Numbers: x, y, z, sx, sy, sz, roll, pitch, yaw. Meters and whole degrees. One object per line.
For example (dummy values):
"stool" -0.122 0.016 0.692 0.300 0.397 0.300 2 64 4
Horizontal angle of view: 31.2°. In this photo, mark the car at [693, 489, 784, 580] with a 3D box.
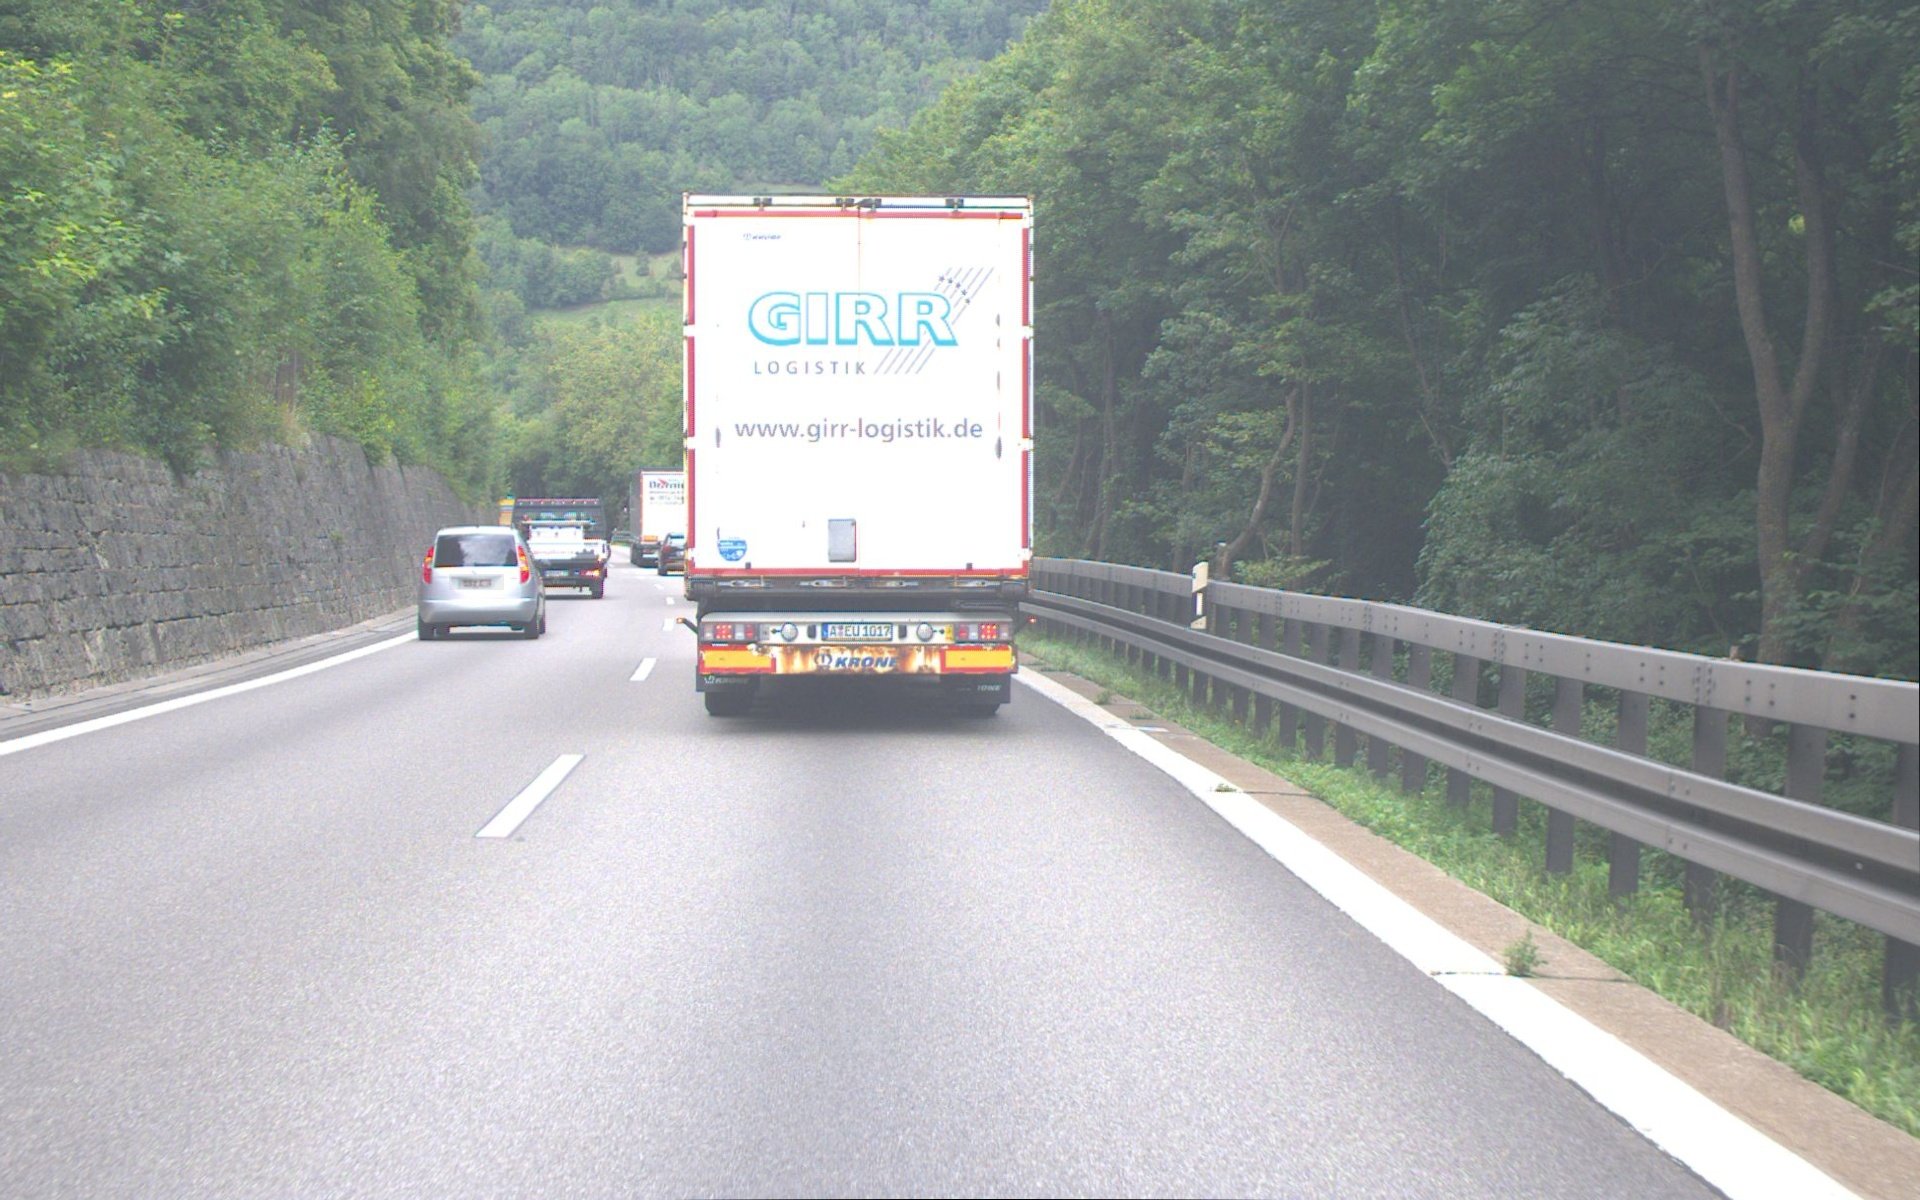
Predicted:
"car" -5.178 -1.516 80.501 1.993 2.007 4.334 2 1 -4

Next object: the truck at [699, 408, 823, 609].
"truck" -4.070 -1.805 69.752 2.233 3.791 6.824 2 1 -4

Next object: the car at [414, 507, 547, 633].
"car" -6.891 -0.449 49.730 1.634 1.720 4.345 1 1 -5

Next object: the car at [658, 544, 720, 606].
"car" -9.188 -0.858 116.372 1.993 2.007 4.001 2 1 -5

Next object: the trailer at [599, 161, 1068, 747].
"trailer" -1.115 -1.157 29.467 3.133 4.029 9.441 3 1 -3

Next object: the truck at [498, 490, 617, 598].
"truck" -9.069 -1.281 77.921 2.349 2.266 6.851 2 1 -5

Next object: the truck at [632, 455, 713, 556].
"truck" -11.806 -3.804 140.529 3.068 3.864 8.460 2 1 -6
